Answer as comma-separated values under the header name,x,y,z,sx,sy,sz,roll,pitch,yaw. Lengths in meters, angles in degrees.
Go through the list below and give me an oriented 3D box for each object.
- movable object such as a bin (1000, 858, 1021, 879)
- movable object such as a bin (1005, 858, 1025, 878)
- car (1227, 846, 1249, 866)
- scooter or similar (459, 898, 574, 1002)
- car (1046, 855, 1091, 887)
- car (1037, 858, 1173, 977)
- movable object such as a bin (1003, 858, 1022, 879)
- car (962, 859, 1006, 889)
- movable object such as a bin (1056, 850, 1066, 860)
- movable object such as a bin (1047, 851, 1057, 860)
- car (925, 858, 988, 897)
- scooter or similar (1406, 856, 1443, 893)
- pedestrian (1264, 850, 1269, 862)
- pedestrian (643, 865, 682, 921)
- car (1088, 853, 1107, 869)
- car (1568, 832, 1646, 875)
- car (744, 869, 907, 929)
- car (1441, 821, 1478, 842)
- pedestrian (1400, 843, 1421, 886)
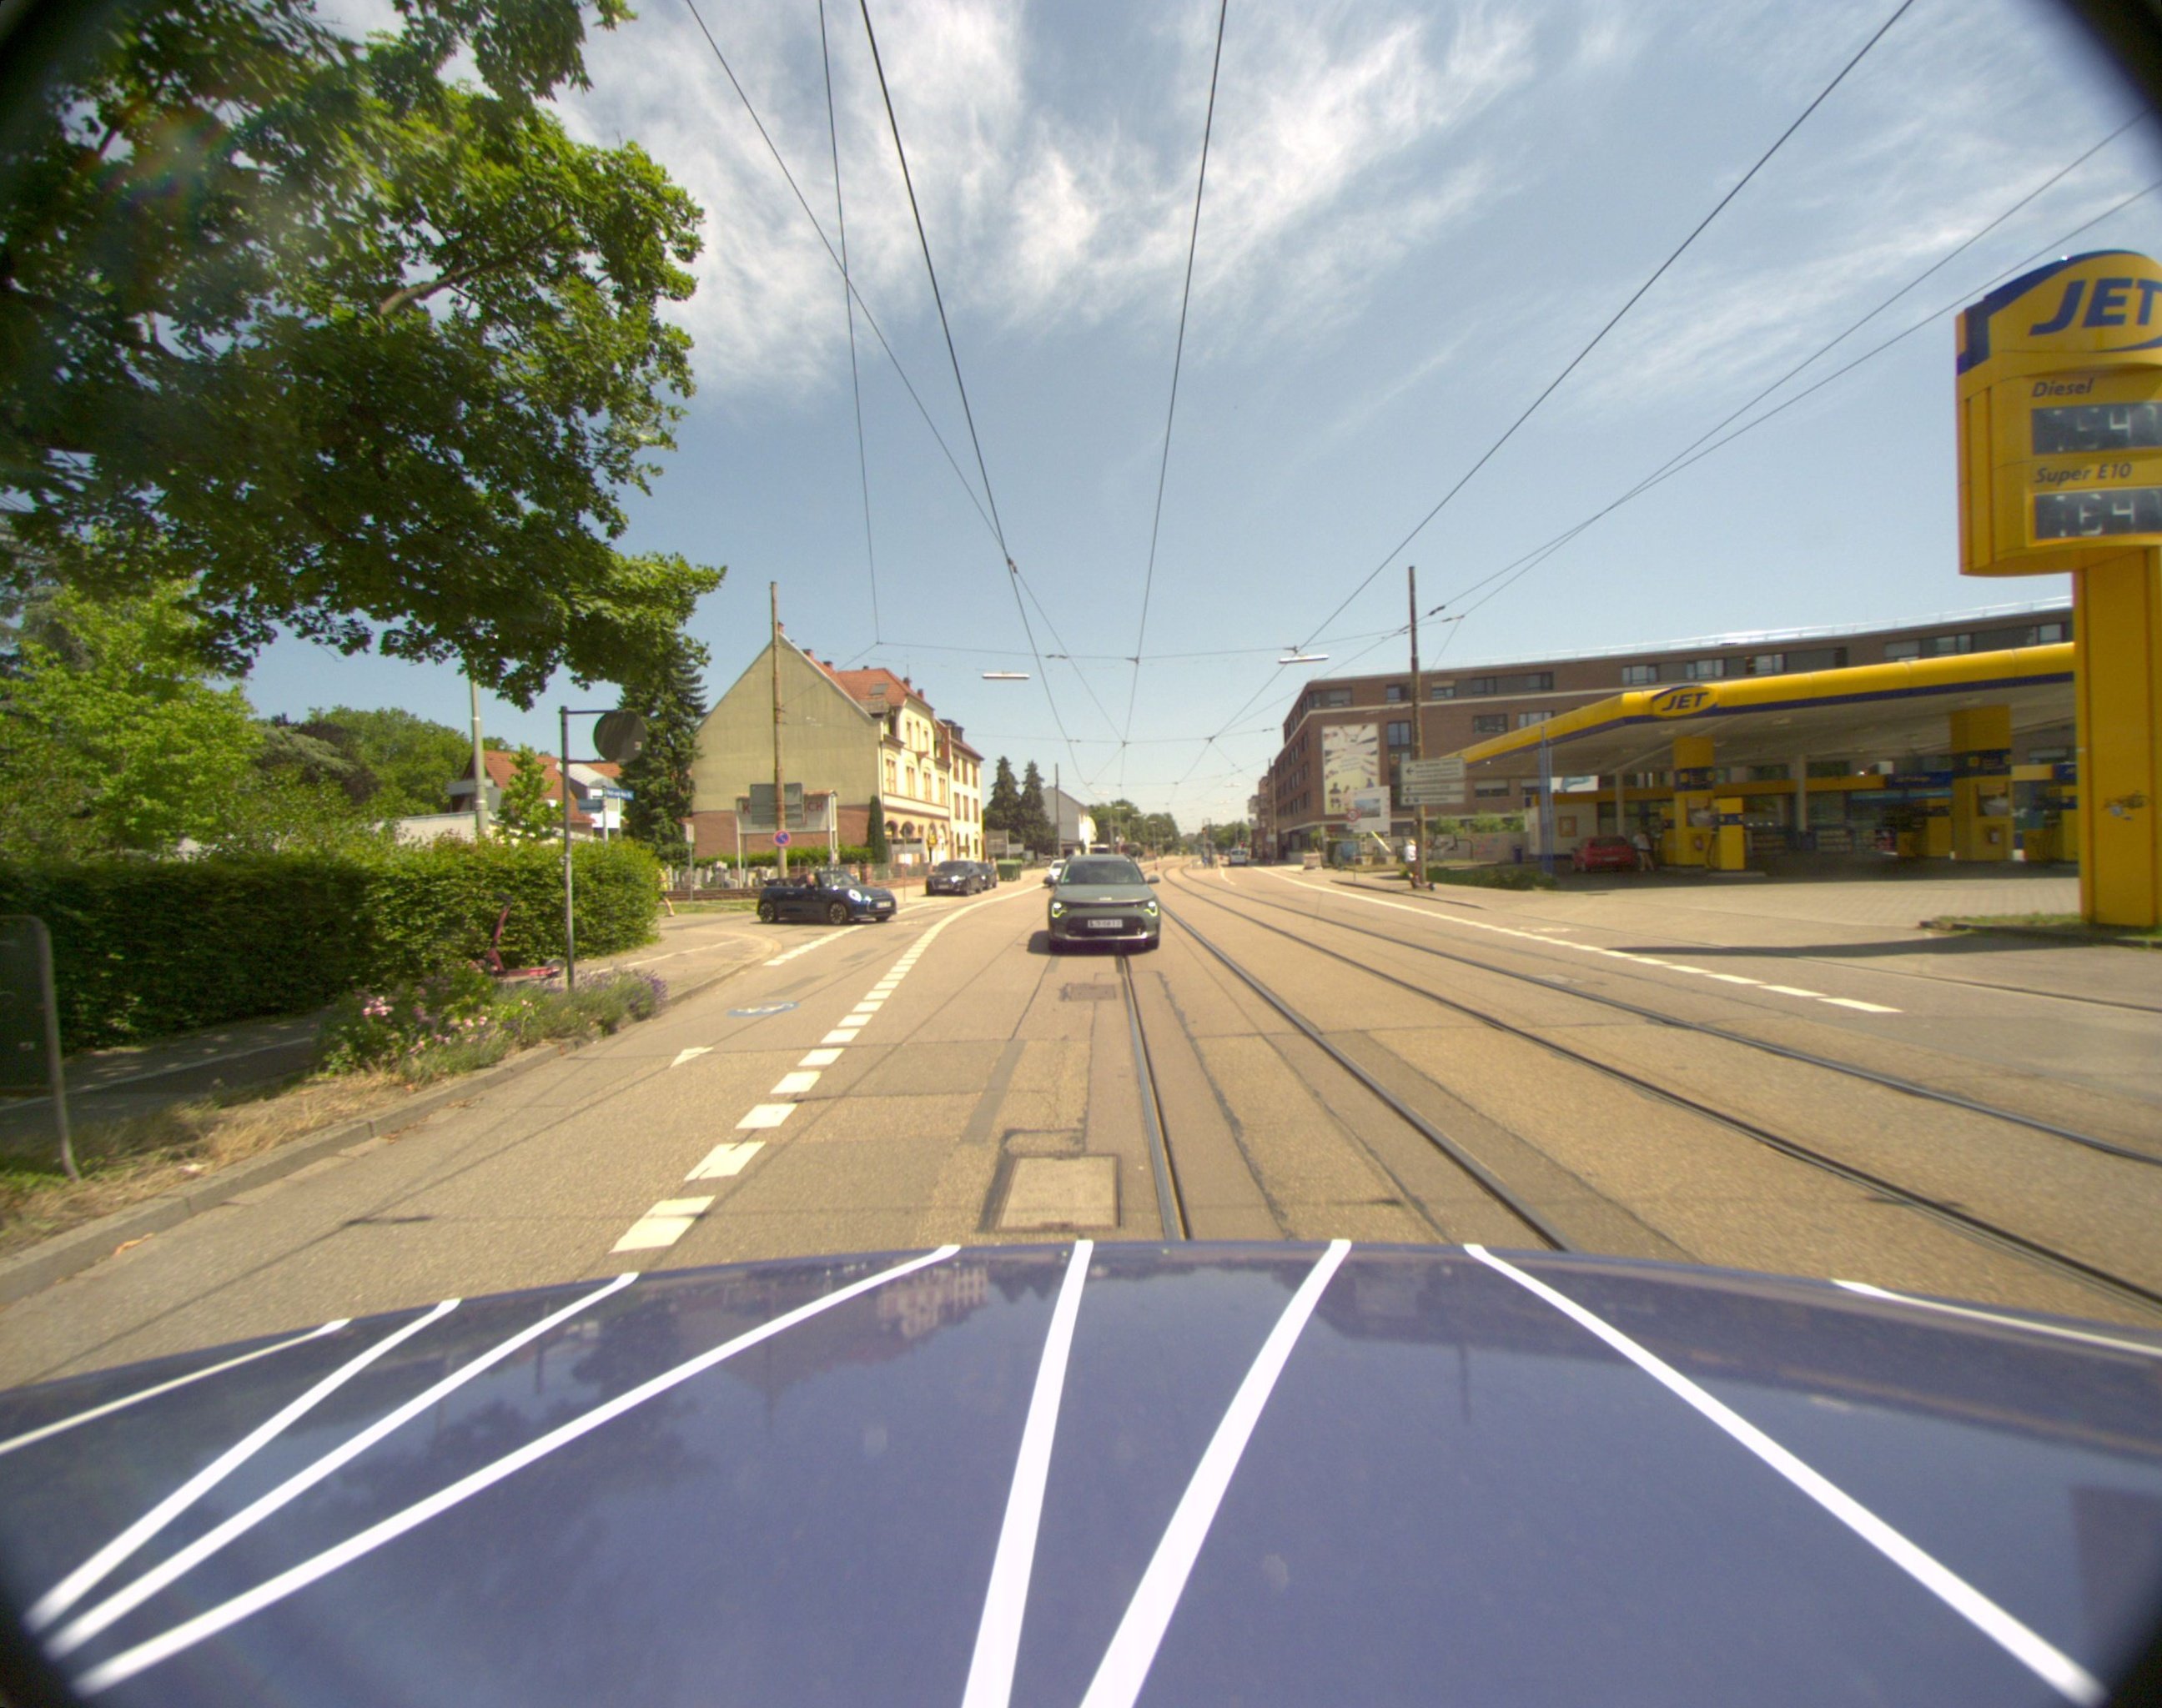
name,x,y,z,sx,sy,sz,roll,pitch,yaw
movable object such as a bin,-4.842,1.007,52.397,1.327,1.446,1.057,0,1,-1
movable object such as a bin,-4.734,0.984,54.569,1.395,1.446,1.139,0,1,-1
car,16.239,0.199,78.862,1.997,1.789,4.555,-4,1,10
scooter or similar,-7.476,1.241,10.107,0.326,1.215,1.153,-3,0,23
car,-0.640,0.898,42.119,1.748,1.546,4.489,-4,0,8
car,0.346,0.880,12.626,1.827,1.546,4.487,-1,0,0
movable object such as a bin,-4.788,0.991,53.475,1.250,1.446,1.057,0,1,-1
car,-5.467,1.084,43.318,1.776,1.539,4.467,-1,1,2
movable object such as a bin,-3.245,0.173,123.486,1.389,1.473,1.152,-2,1,10
movable object such as a bin,-4.710,0.251,123.820,1.389,1.473,1.152,-2,1,13
car,-5.884,1.067,36.640,1.929,1.683,5.082,-1,0,3
scooter or similar,11.418,0.667,25.309,0.520,1.193,1.376,-4,0,-1
pedestrian,25.339,0.231,103.688,0.604,1.586,0.715,-2,1,7
pedestrian,-12.852,1.187,23.354,0.840,1.657,0.733,-3,1,-19
car,1.838,0.779,84.690,1.748,1.546,4.488,-4,0,4
car,21.062,-0.014,30.581,1.827,1.495,4.206,-4,-1,25
car,-6.678,1.145,19.847,3.917,1.364,1.706,-2,1,26
car,29.810,-1.754,59.891,1.734,1.460,4.004,-3,0,14
pedestrian,13.009,0.411,29.989,0.626,1.681,0.723,-2,1,17
